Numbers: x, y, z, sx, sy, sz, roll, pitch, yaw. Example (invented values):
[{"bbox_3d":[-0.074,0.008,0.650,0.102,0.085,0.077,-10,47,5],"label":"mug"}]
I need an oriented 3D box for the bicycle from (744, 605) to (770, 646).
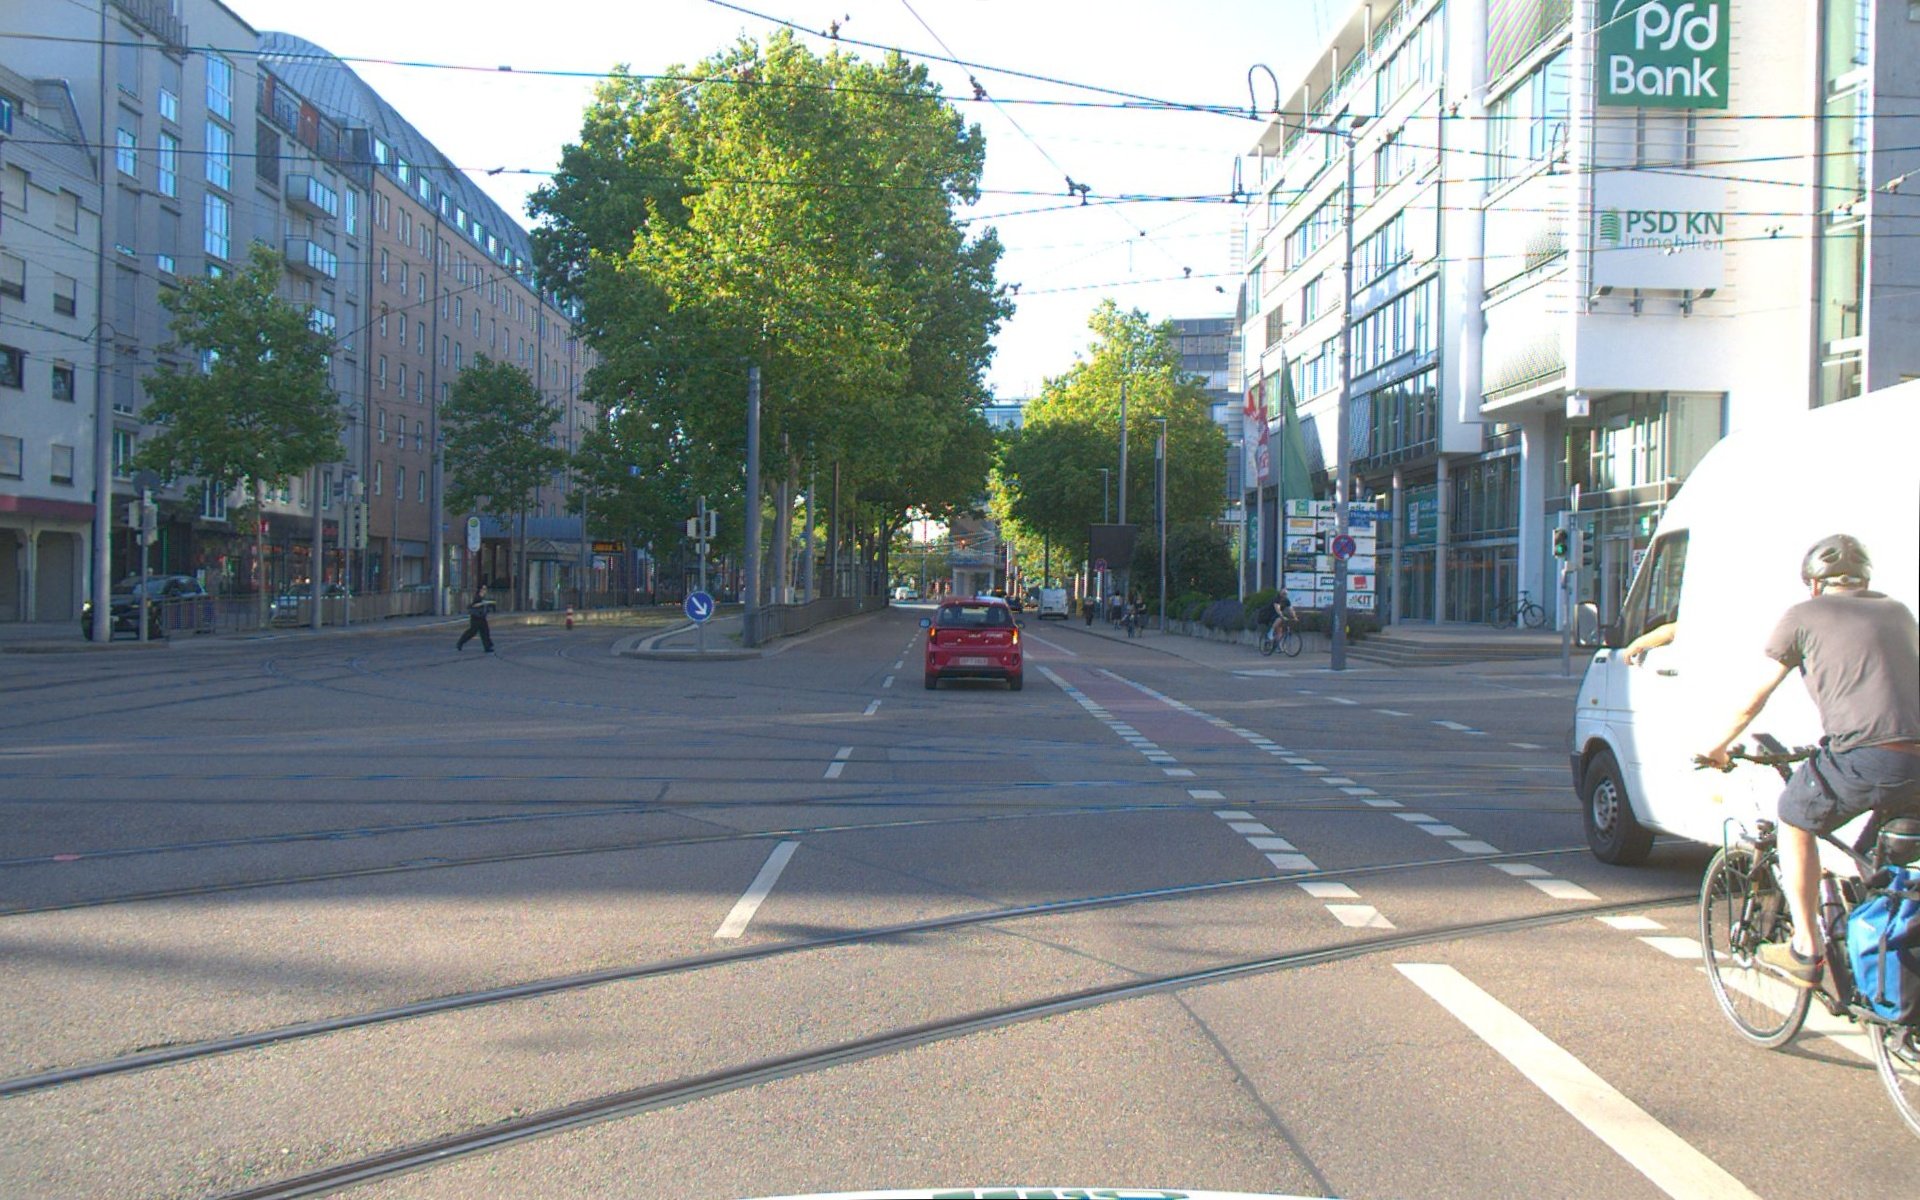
[{"bbox_3d":[-5.150,0.640,42.012,0.387,0.965,1.352,1,3,4],"label":"bicycle"}]

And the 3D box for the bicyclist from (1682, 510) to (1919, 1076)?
[{"bbox_3d":[2.859,0.555,5.311,0.636,1.631,1.089,1,0,4],"label":"bicyclist"}]

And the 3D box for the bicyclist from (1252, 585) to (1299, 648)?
[{"bbox_3d":[8.436,0.430,44.235,0.712,1.631,1.080,-1,1,-24],"label":"bicyclist"}]

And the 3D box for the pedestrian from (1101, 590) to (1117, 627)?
[{"bbox_3d":[7.025,0.389,78.004,0.553,1.732,0.906,-2,0,-3],"label":"pedestrian"}]

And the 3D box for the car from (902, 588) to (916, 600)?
[{"bbox_3d":[-7.319,-0.822,235.267,1.743,1.561,3.408,2,0,-5],"label":"car"}]

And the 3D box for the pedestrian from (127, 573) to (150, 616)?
[{"bbox_3d":[-28.972,-0.194,58.325,0.524,1.520,0.587,1,0,-4],"label":"pedestrian"}]

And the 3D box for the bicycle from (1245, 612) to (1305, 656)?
[{"bbox_3d":[8.424,0.895,44.300,0.687,1.117,1.738,-3,1,-23],"label":"bicycle"}]

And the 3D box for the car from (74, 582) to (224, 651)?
[{"bbox_3d":[-21.186,0.386,43.412,1.915,1.702,4.259,1,1,-1],"label":"car"}]

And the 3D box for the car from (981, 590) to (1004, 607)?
[{"bbox_3d":[3.012,-0.140,153.773,1.743,1.561,3.508,2,0,-5],"label":"car"}]

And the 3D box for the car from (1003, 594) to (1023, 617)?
[{"bbox_3d":[4.405,0.460,138.533,1.602,1.831,3.330,1,0,1],"label":"car"}]

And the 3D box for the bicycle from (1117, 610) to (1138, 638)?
[{"bbox_3d":[6.418,0.922,63.532,0.510,0.992,2.201,-3,1,-1],"label":"bicycle"}]

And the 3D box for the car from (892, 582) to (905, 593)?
[{"bbox_3d":[-9.173,-1.923,247.834,1.743,1.616,3.408,2,0,-5],"label":"car"}]

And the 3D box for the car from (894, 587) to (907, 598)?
[{"bbox_3d":[-8.688,-1.136,241.833,1.743,1.561,3.408,2,0,-5],"label":"car"}]

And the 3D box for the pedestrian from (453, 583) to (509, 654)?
[{"bbox_3d":[-10.809,0.414,37.312,1.024,1.571,0.694,1,0,1],"label":"pedestrian"}]

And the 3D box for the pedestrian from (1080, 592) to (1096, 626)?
[{"bbox_3d":[6.308,0.445,81.599,0.629,1.607,0.723,-3,0,-5],"label":"pedestrian"}]

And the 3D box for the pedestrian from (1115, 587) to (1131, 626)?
[{"bbox_3d":[7.684,0.314,78.024,0.529,1.827,0.906,-2,0,-3],"label":"pedestrian"}]

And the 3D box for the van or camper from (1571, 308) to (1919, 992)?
[{"bbox_3d":[4.857,0.212,7.393,1.928,2.763,6.306,2,0,1],"label":"van or camper"}]

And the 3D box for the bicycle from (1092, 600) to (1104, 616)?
[{"bbox_3d":[9.673,0.558,115.965,0.574,1.086,1.899,0,0,-1],"label":"bicycle"}]

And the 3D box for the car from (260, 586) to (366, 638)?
[{"bbox_3d":[-21.401,0.376,54.912,1.915,1.623,4.259,1,1,-1],"label":"car"}]

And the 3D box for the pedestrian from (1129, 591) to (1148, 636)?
[{"bbox_3d":[6.847,0.521,63.592,0.633,1.710,0.651,1,0,-1],"label":"pedestrian"}]

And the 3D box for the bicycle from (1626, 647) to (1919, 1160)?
[{"bbox_3d":[2.841,0.846,5.407,0.636,1.303,1.967,1,0,4],"label":"bicycle"}]

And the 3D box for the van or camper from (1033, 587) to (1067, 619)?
[{"bbox_3d":[5.989,0.193,110.450,1.953,2.024,4.745,1,0,0],"label":"van or camper"}]

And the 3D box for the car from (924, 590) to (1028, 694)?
[{"bbox_3d":[0.229,0.648,27.644,1.580,1.561,3.411,2,0,-1],"label":"car"}]
